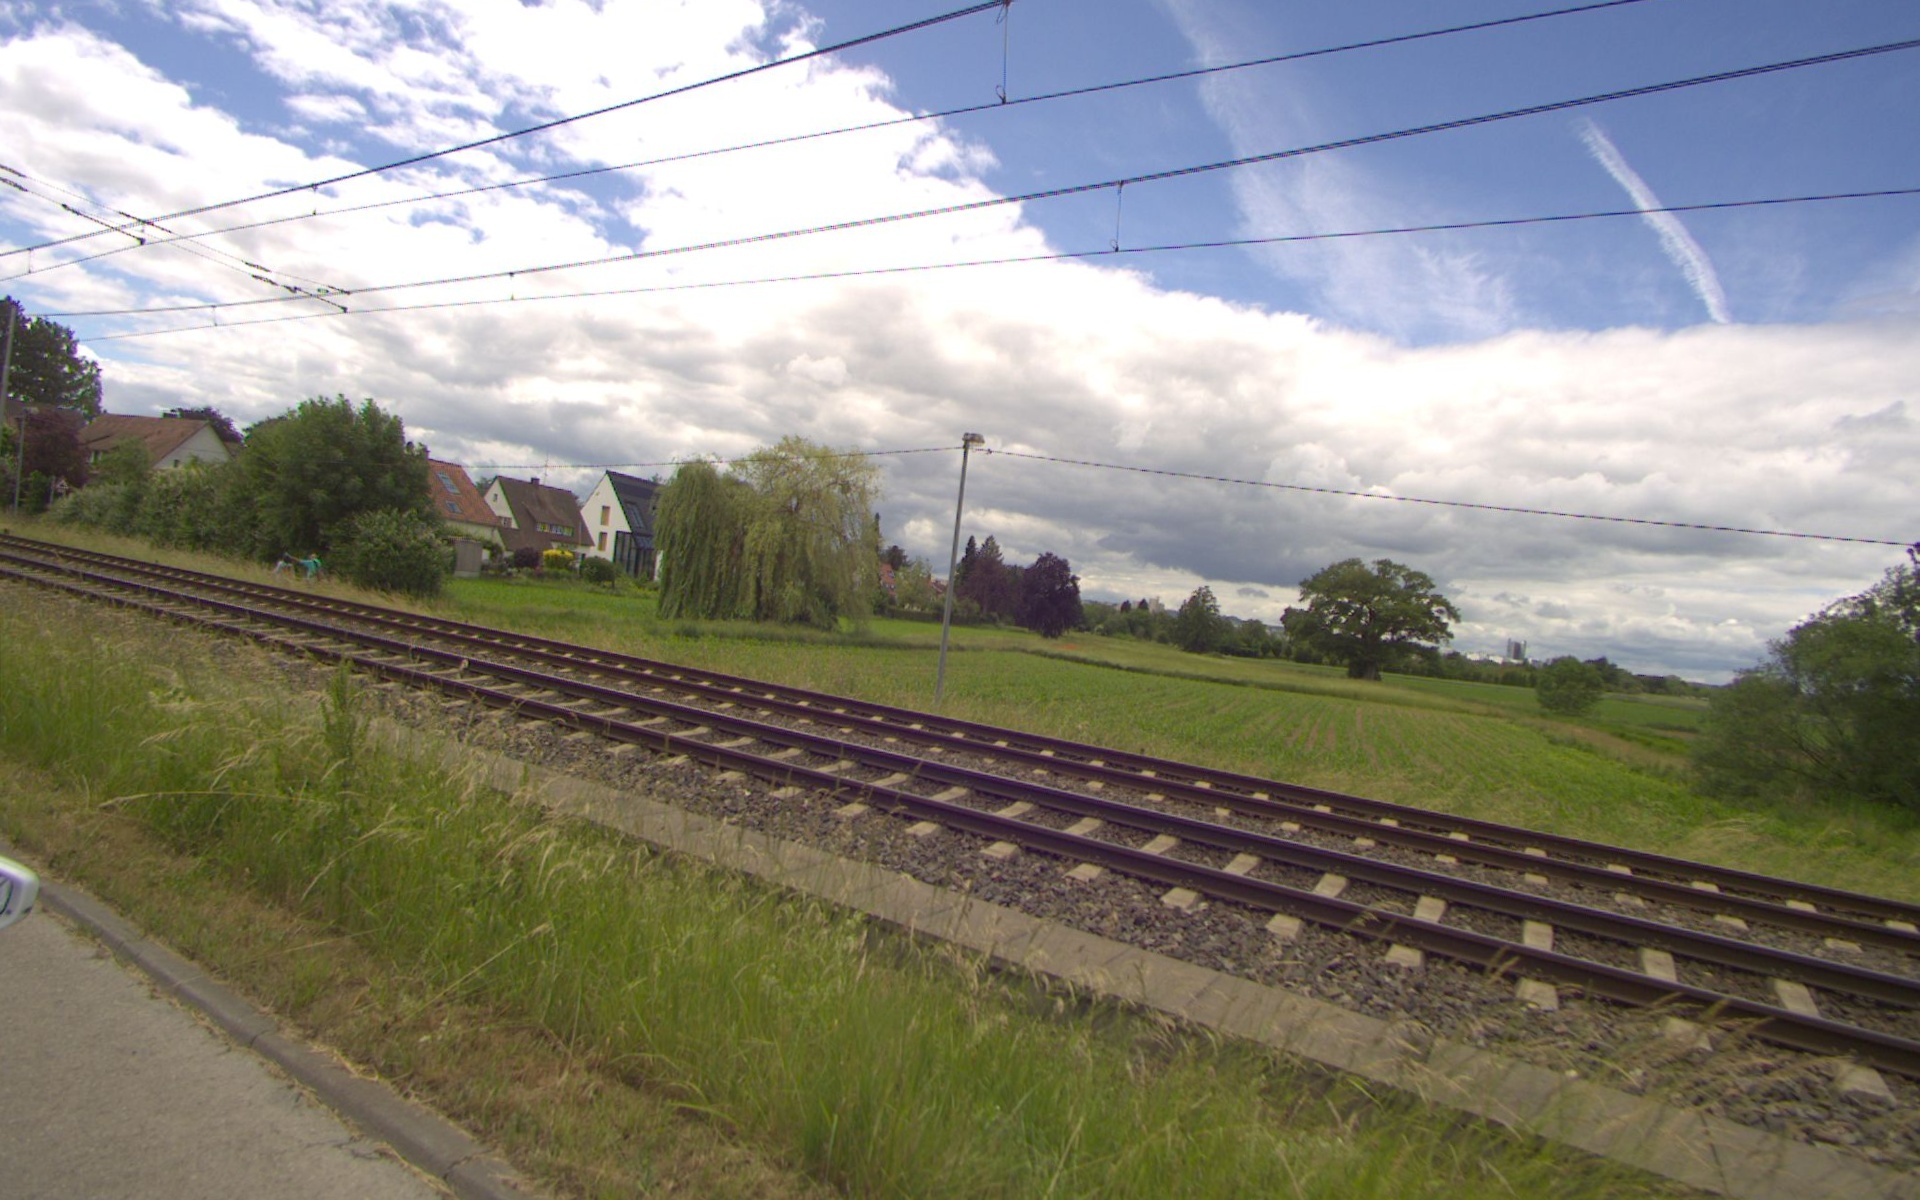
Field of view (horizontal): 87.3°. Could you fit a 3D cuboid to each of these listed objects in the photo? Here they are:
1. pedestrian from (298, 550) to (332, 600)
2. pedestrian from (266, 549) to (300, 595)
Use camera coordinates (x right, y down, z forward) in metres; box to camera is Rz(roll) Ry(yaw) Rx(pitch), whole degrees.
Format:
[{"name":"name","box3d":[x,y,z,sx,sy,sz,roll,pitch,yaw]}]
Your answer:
[{"name":"pedestrian","box3d":[-22.607,-0.875,35.270,0.574,1.641,0.617,7,-1,32]},{"name":"pedestrian","box3d":[-23.198,-0.959,34.477,0.655,1.447,0.599,7,-1,32]}]
